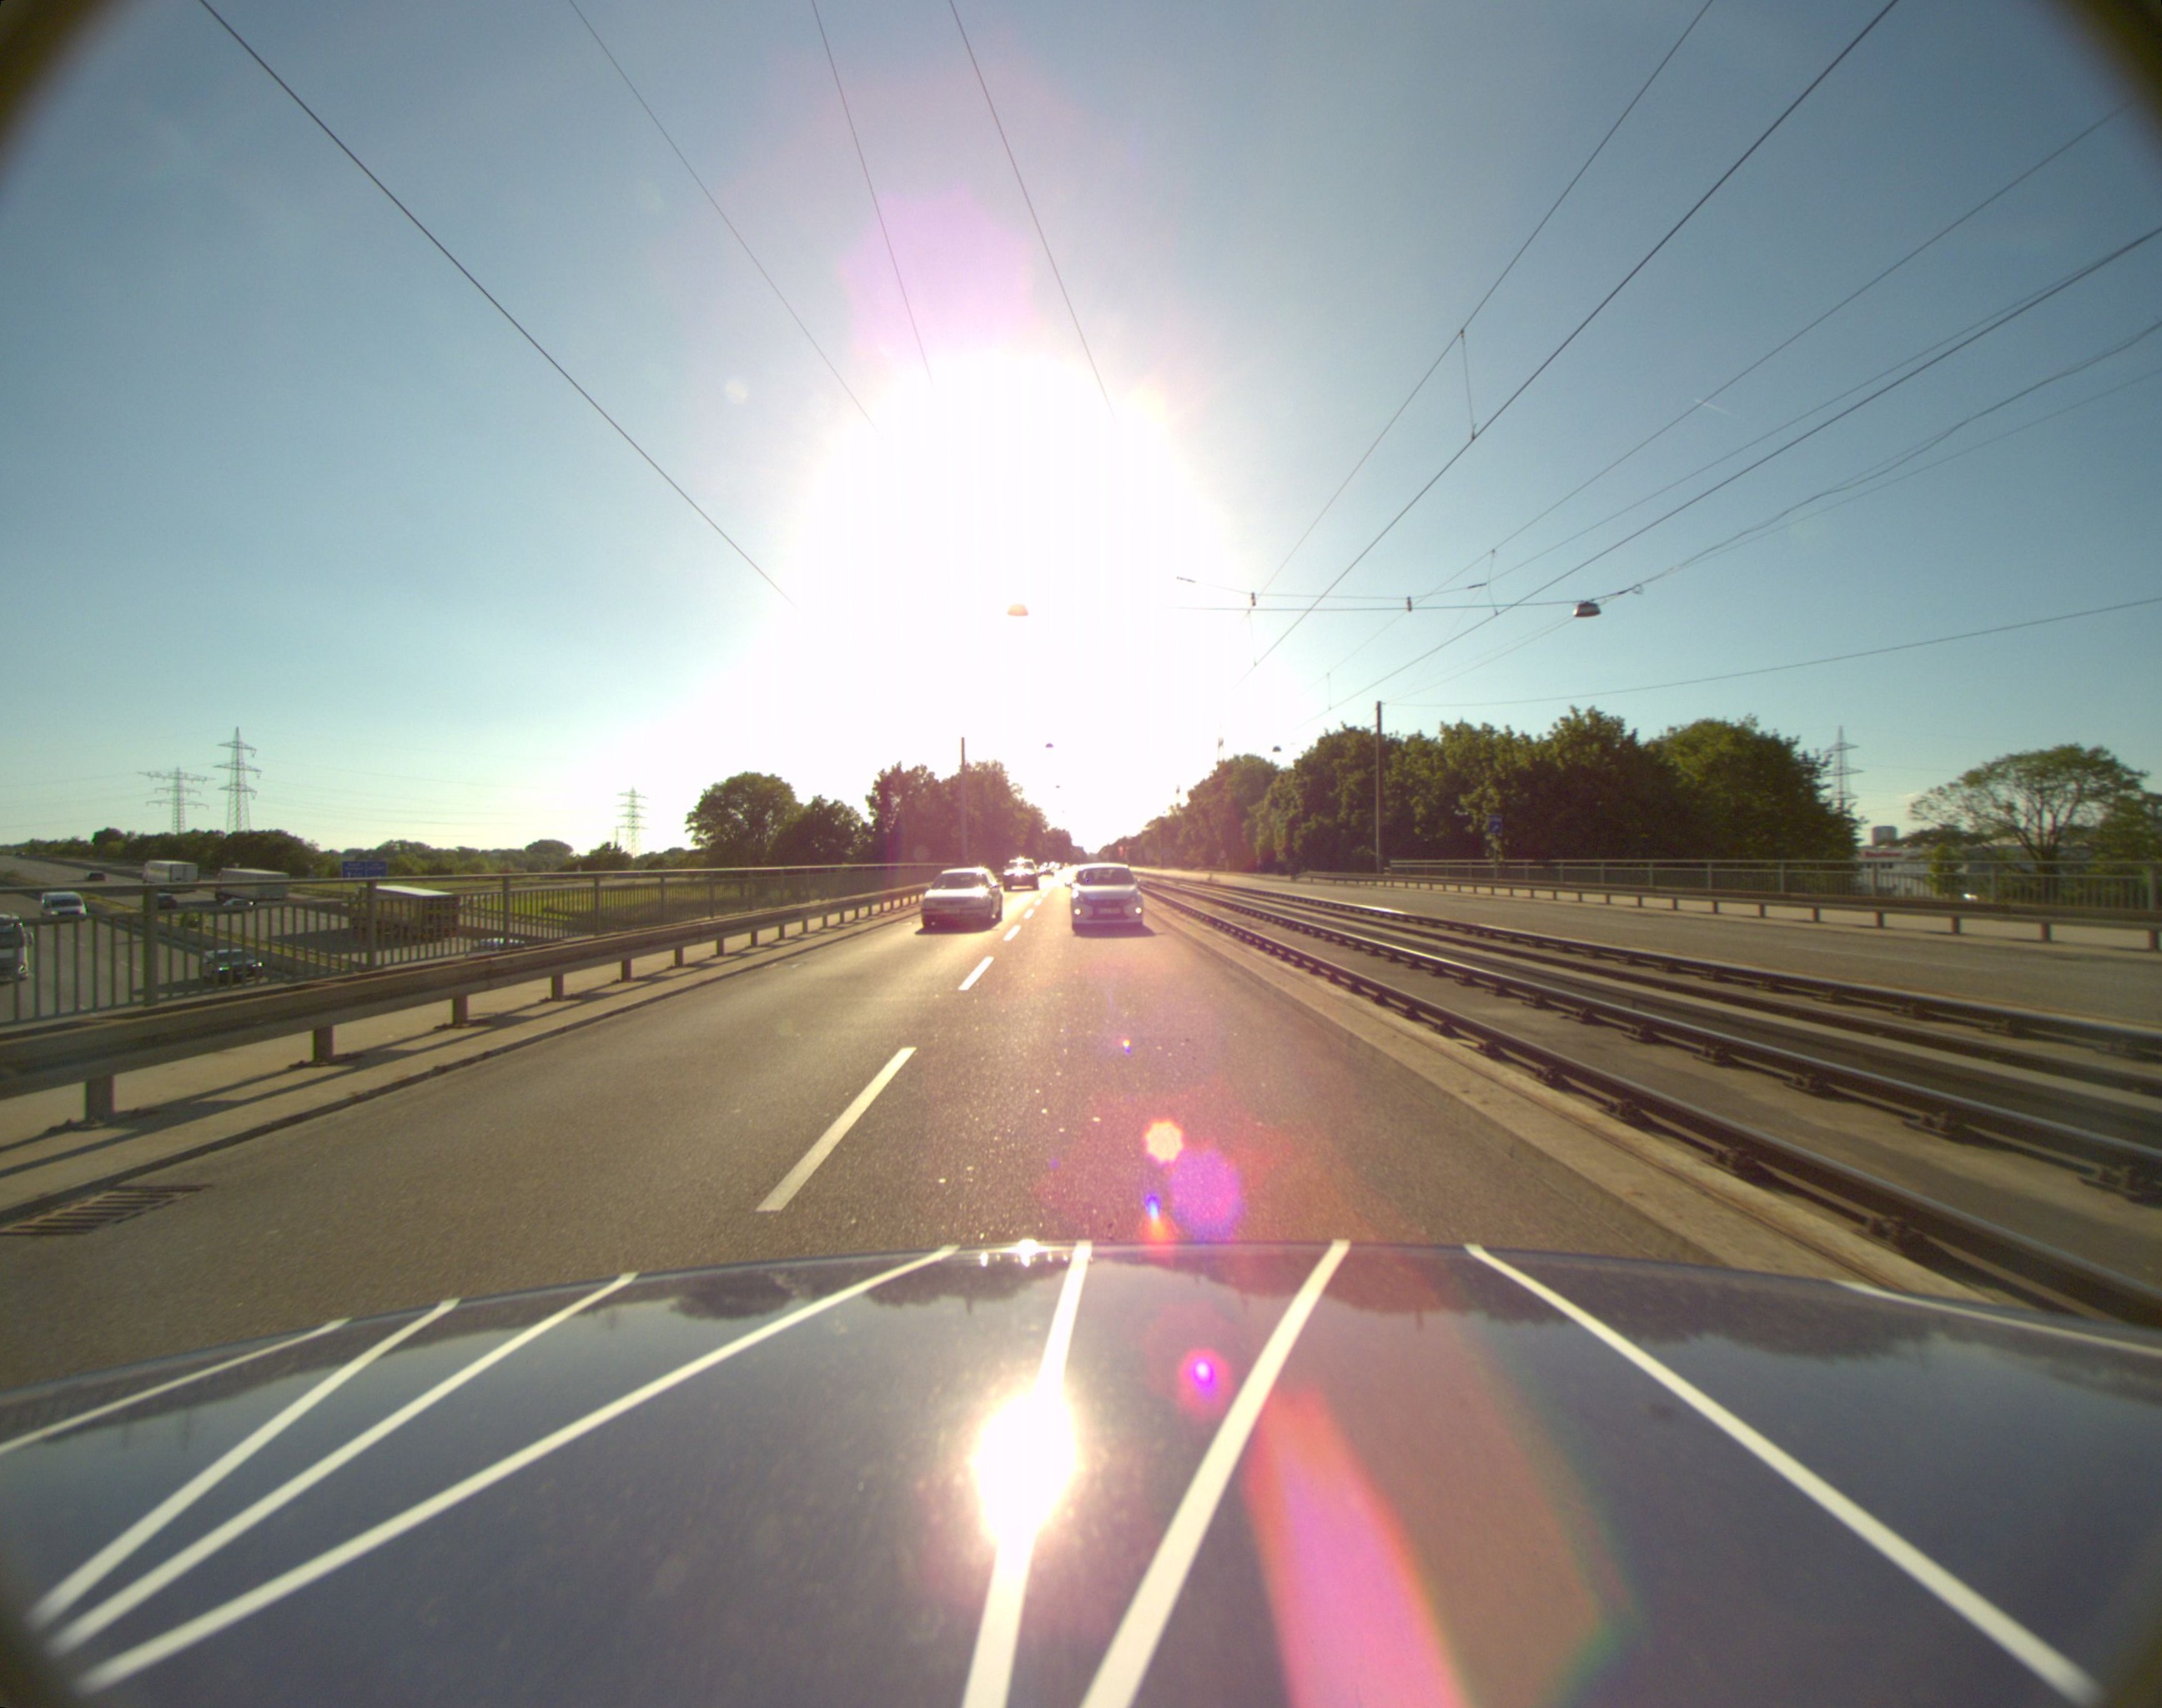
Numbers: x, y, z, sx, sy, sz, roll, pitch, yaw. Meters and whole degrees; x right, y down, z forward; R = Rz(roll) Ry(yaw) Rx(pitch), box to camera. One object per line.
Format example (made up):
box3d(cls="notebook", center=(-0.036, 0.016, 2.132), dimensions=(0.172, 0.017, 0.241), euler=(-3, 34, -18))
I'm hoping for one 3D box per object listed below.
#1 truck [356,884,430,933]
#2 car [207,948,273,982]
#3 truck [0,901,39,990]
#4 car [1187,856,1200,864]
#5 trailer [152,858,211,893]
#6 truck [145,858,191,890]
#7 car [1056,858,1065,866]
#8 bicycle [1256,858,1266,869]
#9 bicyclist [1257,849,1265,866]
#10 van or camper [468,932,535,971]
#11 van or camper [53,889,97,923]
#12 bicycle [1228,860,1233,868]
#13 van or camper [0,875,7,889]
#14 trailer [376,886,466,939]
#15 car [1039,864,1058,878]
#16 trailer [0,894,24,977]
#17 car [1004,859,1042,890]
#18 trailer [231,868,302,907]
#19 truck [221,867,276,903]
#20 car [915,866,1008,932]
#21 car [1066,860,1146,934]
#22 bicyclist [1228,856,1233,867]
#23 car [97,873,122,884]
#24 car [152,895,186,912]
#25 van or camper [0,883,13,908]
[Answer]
box3d(cls="truck", center=(-63.321, 4.939, 69.930), dimensions=(6.587, 3.861, 3.060), euler=(1, 3, 31))
box3d(cls="car", center=(-50.199, 6.557, 45.346), dimensions=(4.167, 1.406, 1.829), euler=(1, 2, 31))
box3d(cls="truck", center=(-64.010, 5.305, 44.547), dimensions=(7.211, 4.586, 2.739), euler=(1, 2, 31))
box3d(cls="car", center=(23.020, 1.127, 155.866), dimensions=(1.978, 1.512, 3.956), euler=(-2, 1, 1))
box3d(cls="trailer", center=(-127.685, 2.976, 107.763), dimensions=(13.078, 4.436, 3.060), euler=(1, 3, 31))
box3d(cls="truck", center=(-134.064, 2.861, 111.560), dimensions=(6.587, 4.436, 3.057), euler=(1, 3, 30))
box3d(cls="car", center=(-4.364, 1.746, 163.874), dimensions=(1.905, 1.512, 3.956), euler=(-2, 1, 0))
box3d(cls="bicycle", center=(18.207, 0.914, 76.821), dimensions=(0.505, 1.046, 1.727), euler=(-2, 1, 0))
box3d(cls="bicyclist", center=(18.184, 0.367, 76.799), dimensions=(0.498, 1.741, 0.833), euler=(-2, 1, -1))
box3d(cls="van or camper", center=(-39.552, 6.586, 51.842), dimensions=(4.799, 1.955, 1.998), euler=(2, 3, 32))
box3d(cls="van or camper", center=(-94.191, 4.819, 71.155), dimensions=(4.802, 2.807, 1.999), euler=(2, 3, 32))
box3d(cls="bicycle", center=(19.162, 1.275, 97.370), dimensions=(0.425, 0.958, 1.913), euler=(-2, 1, 6))
box3d(cls="van or camper", center=(-154.143, 3.998, 107.672), dimensions=(3.807, 1.759, 1.755), euler=(1, 2, 29))
box3d(cls="trailer", center=(-58.019, 5.034, 66.741), dimensions=(9.346, 3.834, 3.060), euler=(1, 3, 31))
box3d(cls="car", center=(-3.778, 1.969, 89.204), dimensions=(1.904, 1.512, 3.956), euler=(-2, 1, 1))
box3d(cls="trailer", center=(-73.630, 5.157, 50.384), dimensions=(16.929, 4.561, 2.738), euler=(1, 2, 31))
box3d(cls="car", center=(-3.187, 1.097, 42.240), dimensions=(1.709, 1.512, 3.844), euler=(-2, 1, 1))
box3d(cls="trailer", center=(-97.994, 3.981, 91.348), dimensions=(11.520, 4.248, 3.315), euler=(1, -1, 31))
box3d(cls="truck", center=(-103.918, 3.856, 94.845), dimensions=(6.361, 4.252, 3.286), euler=(1, -1, 31))
box3d(cls="car", center=(-3.029, 1.100, 20.035), dimensions=(1.693, 1.409, 4.134), euler=(-2, 1, 1))
box3d(cls="car", center=(0.569, 0.946, 18.526), dimensions=(1.709, 1.503, 3.862), euler=(-2, 1, 1))
box3d(cls="bicyclist", center=(19.138, 0.916, 97.315), dimensions=(0.422, 1.420, 0.755), euler=(-2, 1, 6))
box3d(cls="car", center=(-154.756, 3.918, 121.052), dimensions=(3.948, 1.507, 1.705), euler=(3, 3, 28))
box3d(cls="car", center=(-100.257, 5.424, 83.512), dimensions=(4.054, 1.507, 1.891), euler=(1, 2, 33))
box3d(cls="van or camper", center=(-113.307, 4.328, 79.115), dimensions=(4.953, 2.316, 2.105), euler=(2, 3, 32))
